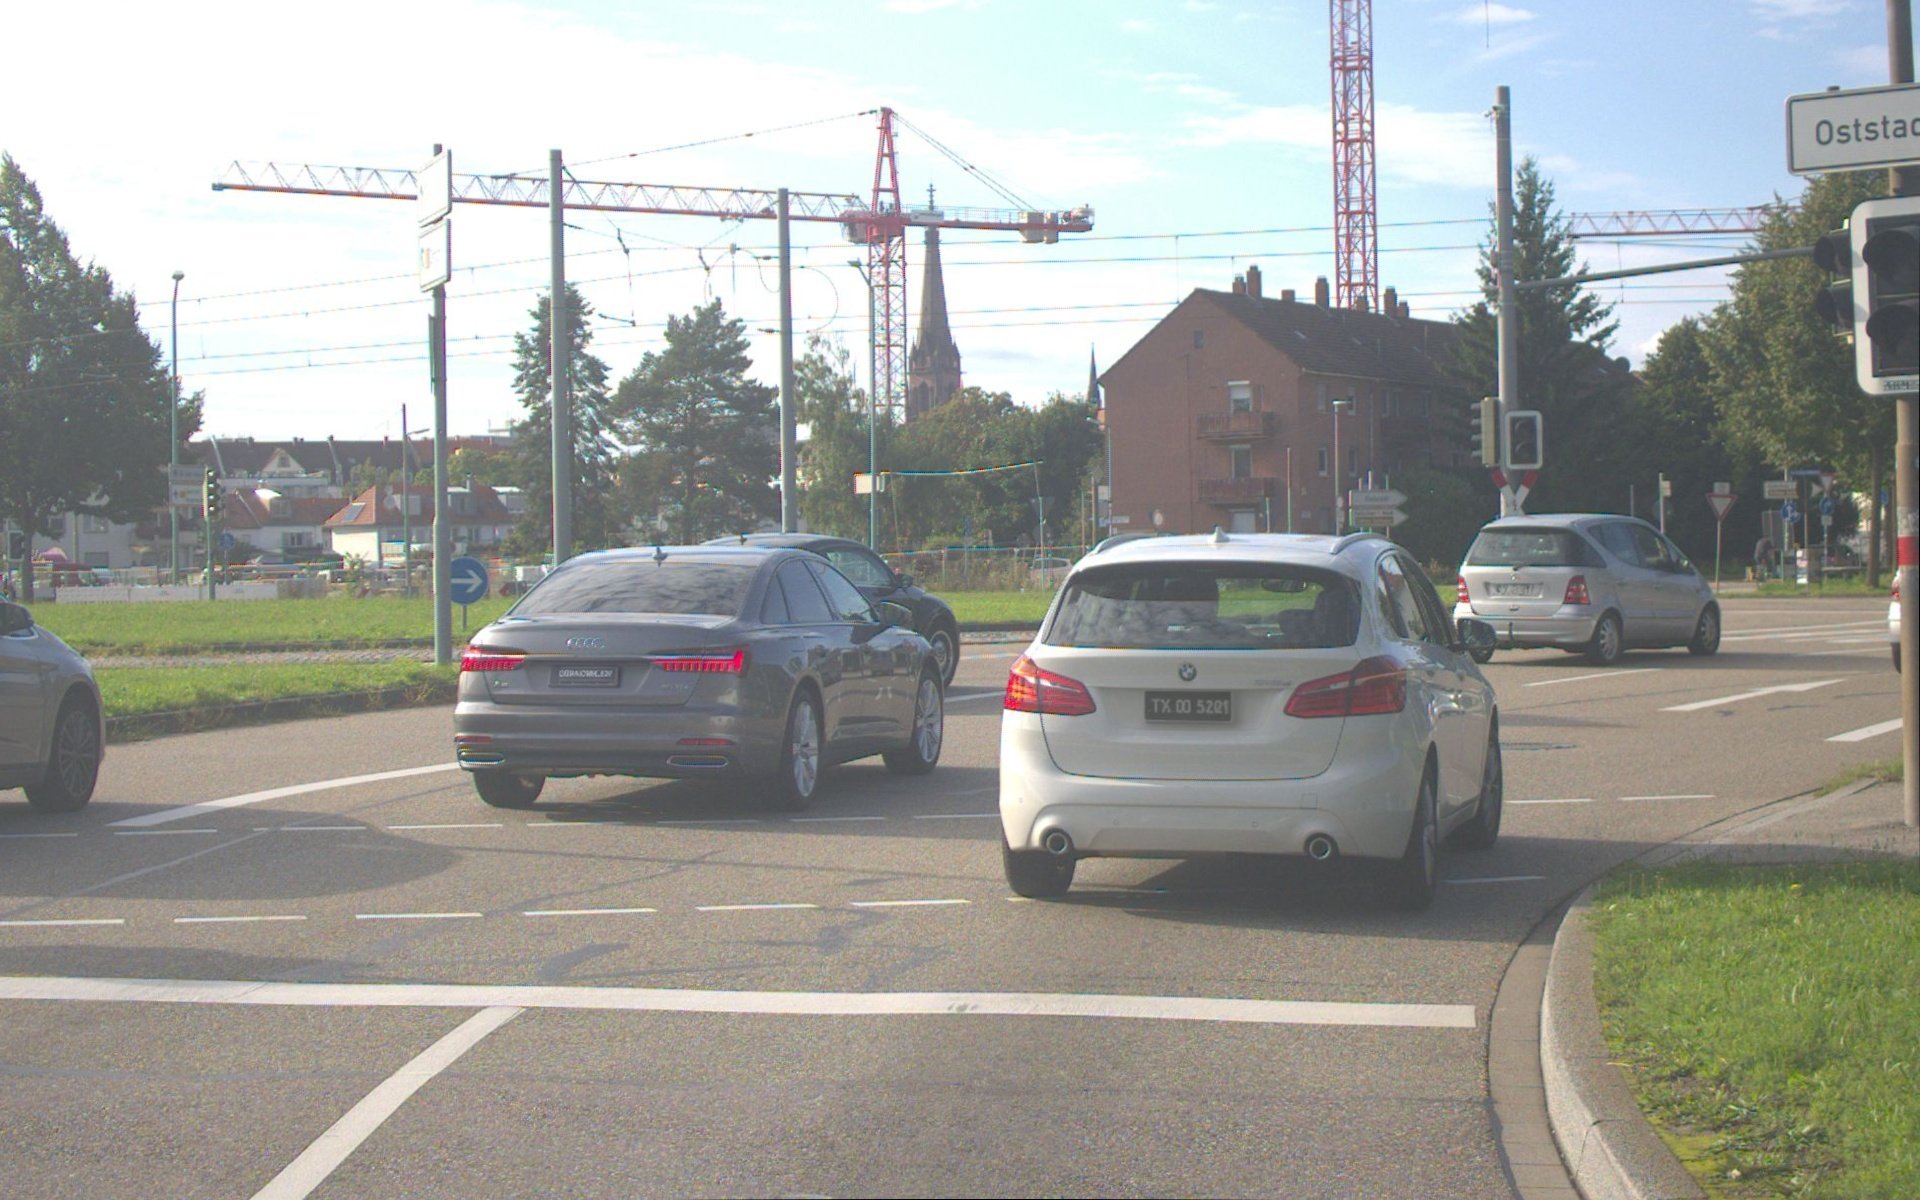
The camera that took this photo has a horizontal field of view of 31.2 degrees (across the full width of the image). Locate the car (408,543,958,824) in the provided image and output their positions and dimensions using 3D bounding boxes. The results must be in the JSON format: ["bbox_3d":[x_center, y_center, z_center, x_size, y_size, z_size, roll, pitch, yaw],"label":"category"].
[{"bbox_3d":[-1.455,0.392,20.113,1.851,1.440,4.712,0,1,13],"label":"car"}]

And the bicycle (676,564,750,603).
[{"bbox_3d":[-7.774,-0.518,108.172,2.144,1.133,0.772,-2,1,12],"label":"bicycle"}]

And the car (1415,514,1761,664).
[{"bbox_3d":[6.765,-0.168,36.692,1.854,1.473,4.446,1,2,37],"label":"car"}]

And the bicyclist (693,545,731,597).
[{"bbox_3d":[-7.797,-0.909,108.168,0.957,1.569,0.772,-2,1,12],"label":"bicyclist"}]

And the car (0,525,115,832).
[{"bbox_3d":[-5.820,0.403,17.347,1.768,1.567,4.066,0,1,6],"label":"car"}]

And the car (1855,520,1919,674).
[{"bbox_3d":[10.421,-0.079,33.557,1.854,1.421,4.446,1,2,35],"label":"car"}]

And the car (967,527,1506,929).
[{"bbox_3d":[1.423,0.466,15.775,1.851,1.567,4.452,0,1,13],"label":"car"}]
